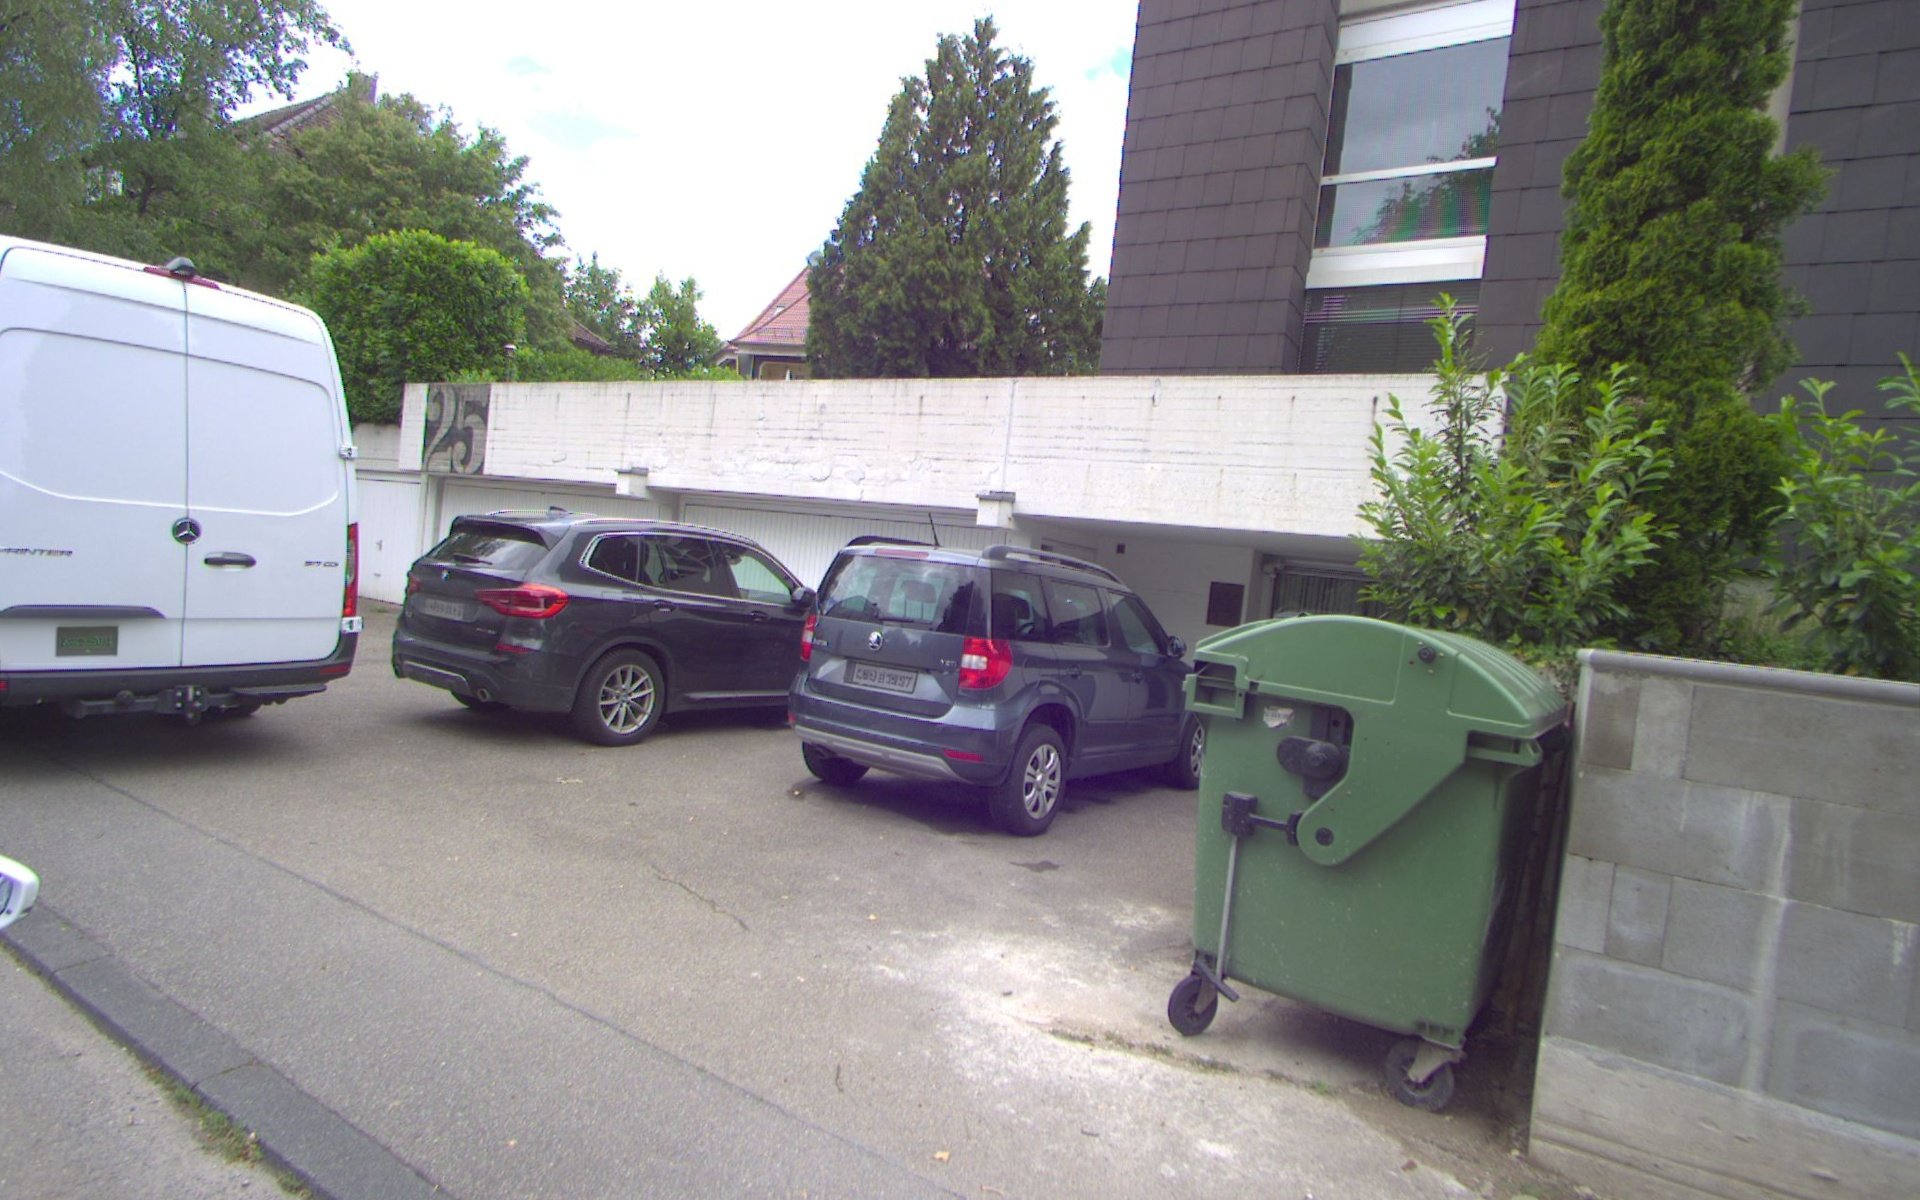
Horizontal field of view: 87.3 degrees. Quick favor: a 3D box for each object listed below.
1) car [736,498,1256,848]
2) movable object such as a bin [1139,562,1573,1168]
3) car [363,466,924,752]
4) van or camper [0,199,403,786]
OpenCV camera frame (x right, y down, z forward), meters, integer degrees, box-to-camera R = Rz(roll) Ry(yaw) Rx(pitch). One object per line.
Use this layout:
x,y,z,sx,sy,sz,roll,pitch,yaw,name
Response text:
0.543,0.454,7.390,1.804,1.772,3.973,7,1,35,car
1.361,0.728,3.385,1.016,1.550,1.034,7,1,33,movable object such as a bin
-2.352,0.124,8.672,1.710,1.772,4.419,7,1,33,car
-6.696,-0.735,6.895,6.432,2.653,1.995,7,1,32,van or camper
